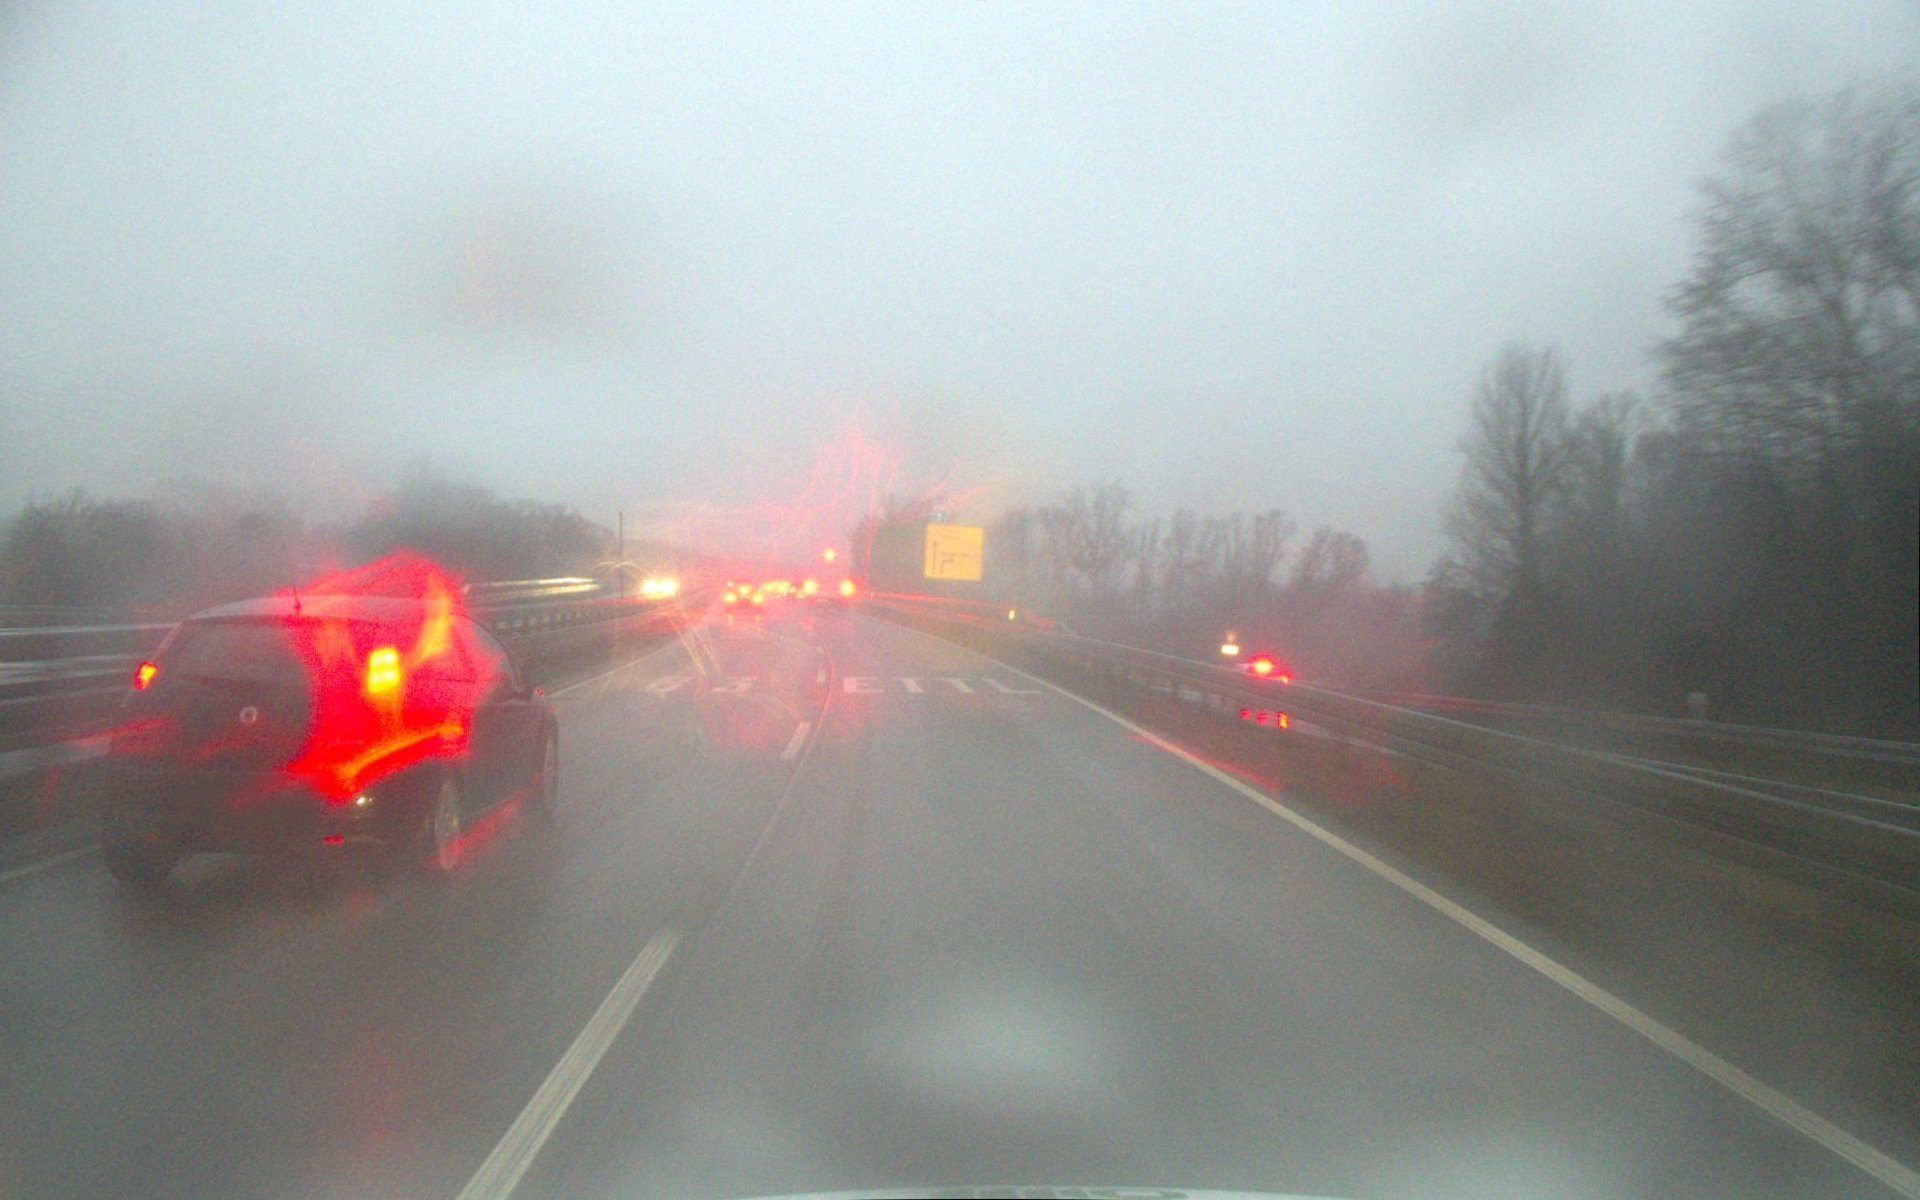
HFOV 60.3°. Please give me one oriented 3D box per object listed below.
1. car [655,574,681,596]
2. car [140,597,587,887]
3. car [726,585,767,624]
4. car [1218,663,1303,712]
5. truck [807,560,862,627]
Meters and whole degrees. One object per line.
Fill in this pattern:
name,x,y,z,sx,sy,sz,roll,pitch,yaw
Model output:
car,-22.839,-1.157,129.292,1.651,1.431,4.486,1,-3,-15
car,-3.391,0.694,10.182,1.594,1.416,3.996,0,0,-5
car,-10.115,0.217,78.289,1.800,1.564,3.992,2,-4,-8
car,10.290,2.981,56.884,1.645,1.303,3.993,8,-2,-7
truck,-6.124,-0.262,80.103,2.338,2.960,4.665,1,-3,-8
